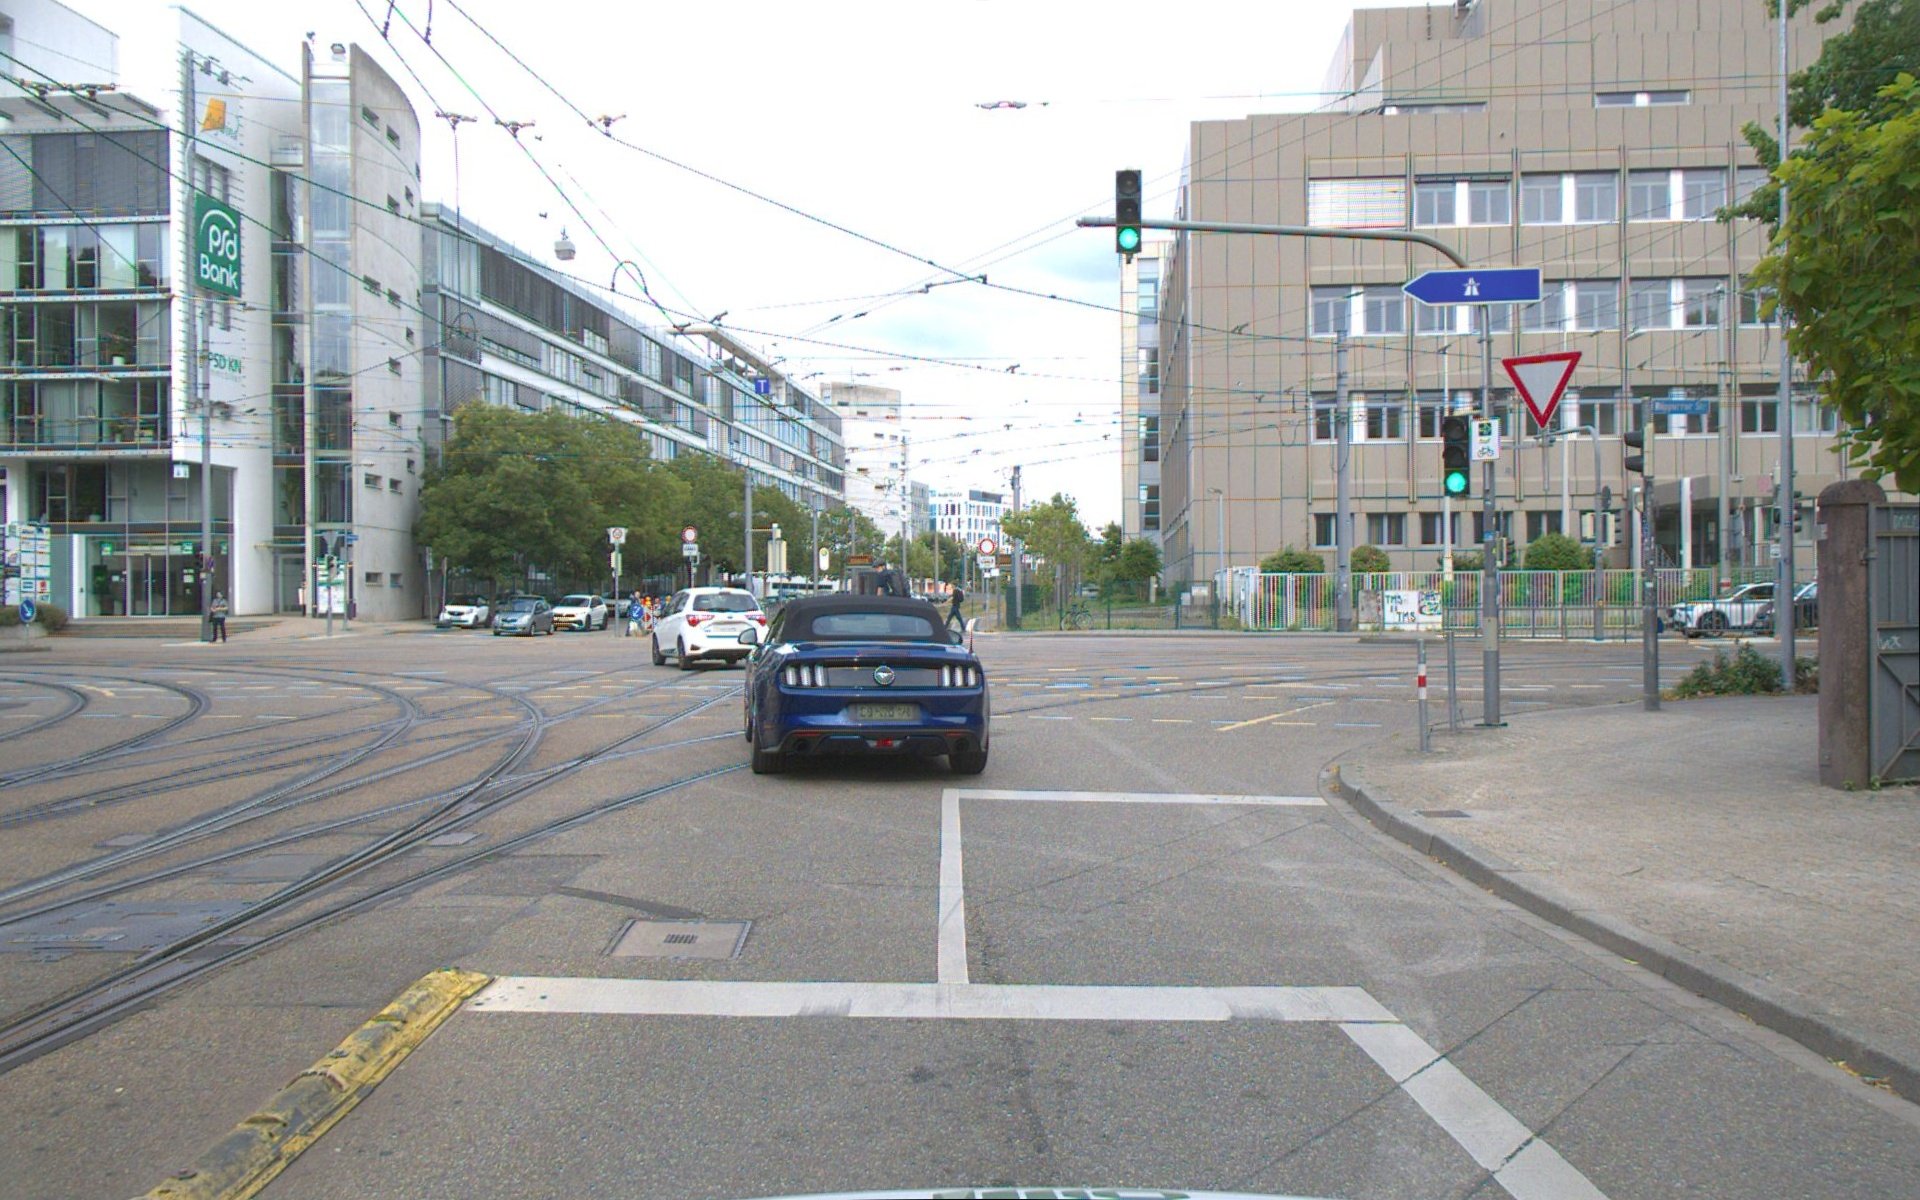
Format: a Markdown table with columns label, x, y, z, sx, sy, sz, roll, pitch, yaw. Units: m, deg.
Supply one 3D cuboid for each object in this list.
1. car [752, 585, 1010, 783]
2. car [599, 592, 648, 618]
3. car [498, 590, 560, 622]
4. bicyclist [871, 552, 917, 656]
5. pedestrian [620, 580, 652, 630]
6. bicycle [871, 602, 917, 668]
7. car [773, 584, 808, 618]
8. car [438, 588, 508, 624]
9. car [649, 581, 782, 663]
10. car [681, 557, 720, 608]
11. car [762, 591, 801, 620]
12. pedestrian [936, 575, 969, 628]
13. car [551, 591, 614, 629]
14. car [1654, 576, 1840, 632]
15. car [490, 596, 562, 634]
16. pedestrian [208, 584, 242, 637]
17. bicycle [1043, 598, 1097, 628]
| label | x | y | z | sx | sy | sz | roll | pitch | yaw |
| --- | --- | --- | --- | --- | --- | --- | --- | --- | --- |
| car | -0.828 | 0.605 | 14.176 | 1.841 | 1.428 | 4.275 | 1 | 0 | -8 |
| car | -21.097 | 0.295 | 103.851 | 1.945 | 1.584 | 4.513 | 2 | 0 | 2 |
| car | -22.305 | 0.305 | 85.656 | 1.791 | 1.584 | 4.219 | 2 | 0 | 4 |
| bicyclist | -1.180 | 0.070 | 29.783 | 0.780 | 1.817 | 1.232 | -1 | 0 | -2 |
| pedestrian | -12.606 | 0.194 | 64.350 | 0.968 | 1.888 | 0.902 | -1 | 0 | 4 |
| bicycle | -1.163 | 0.605 | 29.611 | 0.784 | 1.105 | 2.131 | -1 | 0 | -1 |
| car | -10.544 | 0.050 | 103.141 | 1.748 | 2.022 | 4.121 | -1 | 0 | 0 |
| car | -23.032 | 0.256 | 78.343 | 1.791 | 1.584 | 4.219 | 2 | 0 | 4 |
| car | -4.782 | 0.388 | 31.928 | 1.807 | 1.464 | 4.164 | -1 | 0 | -19 |
| car | -19.261 | -1.306 | 122.859 | 1.945 | 3.700 | 4.513 | 1 | 0 | 2 |
| car | -10.587 | 0.306 | 98.222 | 1.829 | 1.634 | 4.213 | -1 | 0 | 0 |
| pedestrian | -0.277 | 0.061 | 60.643 | 1.062 | 1.931 | 0.902 | -1 | 0 | 9 |
| car | -17.730 | 0.448 | 77.802 | 1.679 | 1.689 | 4.135 | 1 | 0 | 4 |
| car | 22.031 | 0.110 | 46.452 | 4.312 | 1.531 | 2.002 | 0 | 0 | 6 |
| car | -18.450 | 0.605 | 70.431 | 1.633 | 1.533 | 4.237 | 2 | 0 | 4 |
| pedestrian | -26.487 | 0.381 | 59.624 | 0.816 | 1.897 | 0.766 | -1 | 0 | 13 |
| bicycle | 3.979 | 0.487 | 60.209 | 0.628 | 0.998 | 2.126 | -1 | -2 | -41 |
